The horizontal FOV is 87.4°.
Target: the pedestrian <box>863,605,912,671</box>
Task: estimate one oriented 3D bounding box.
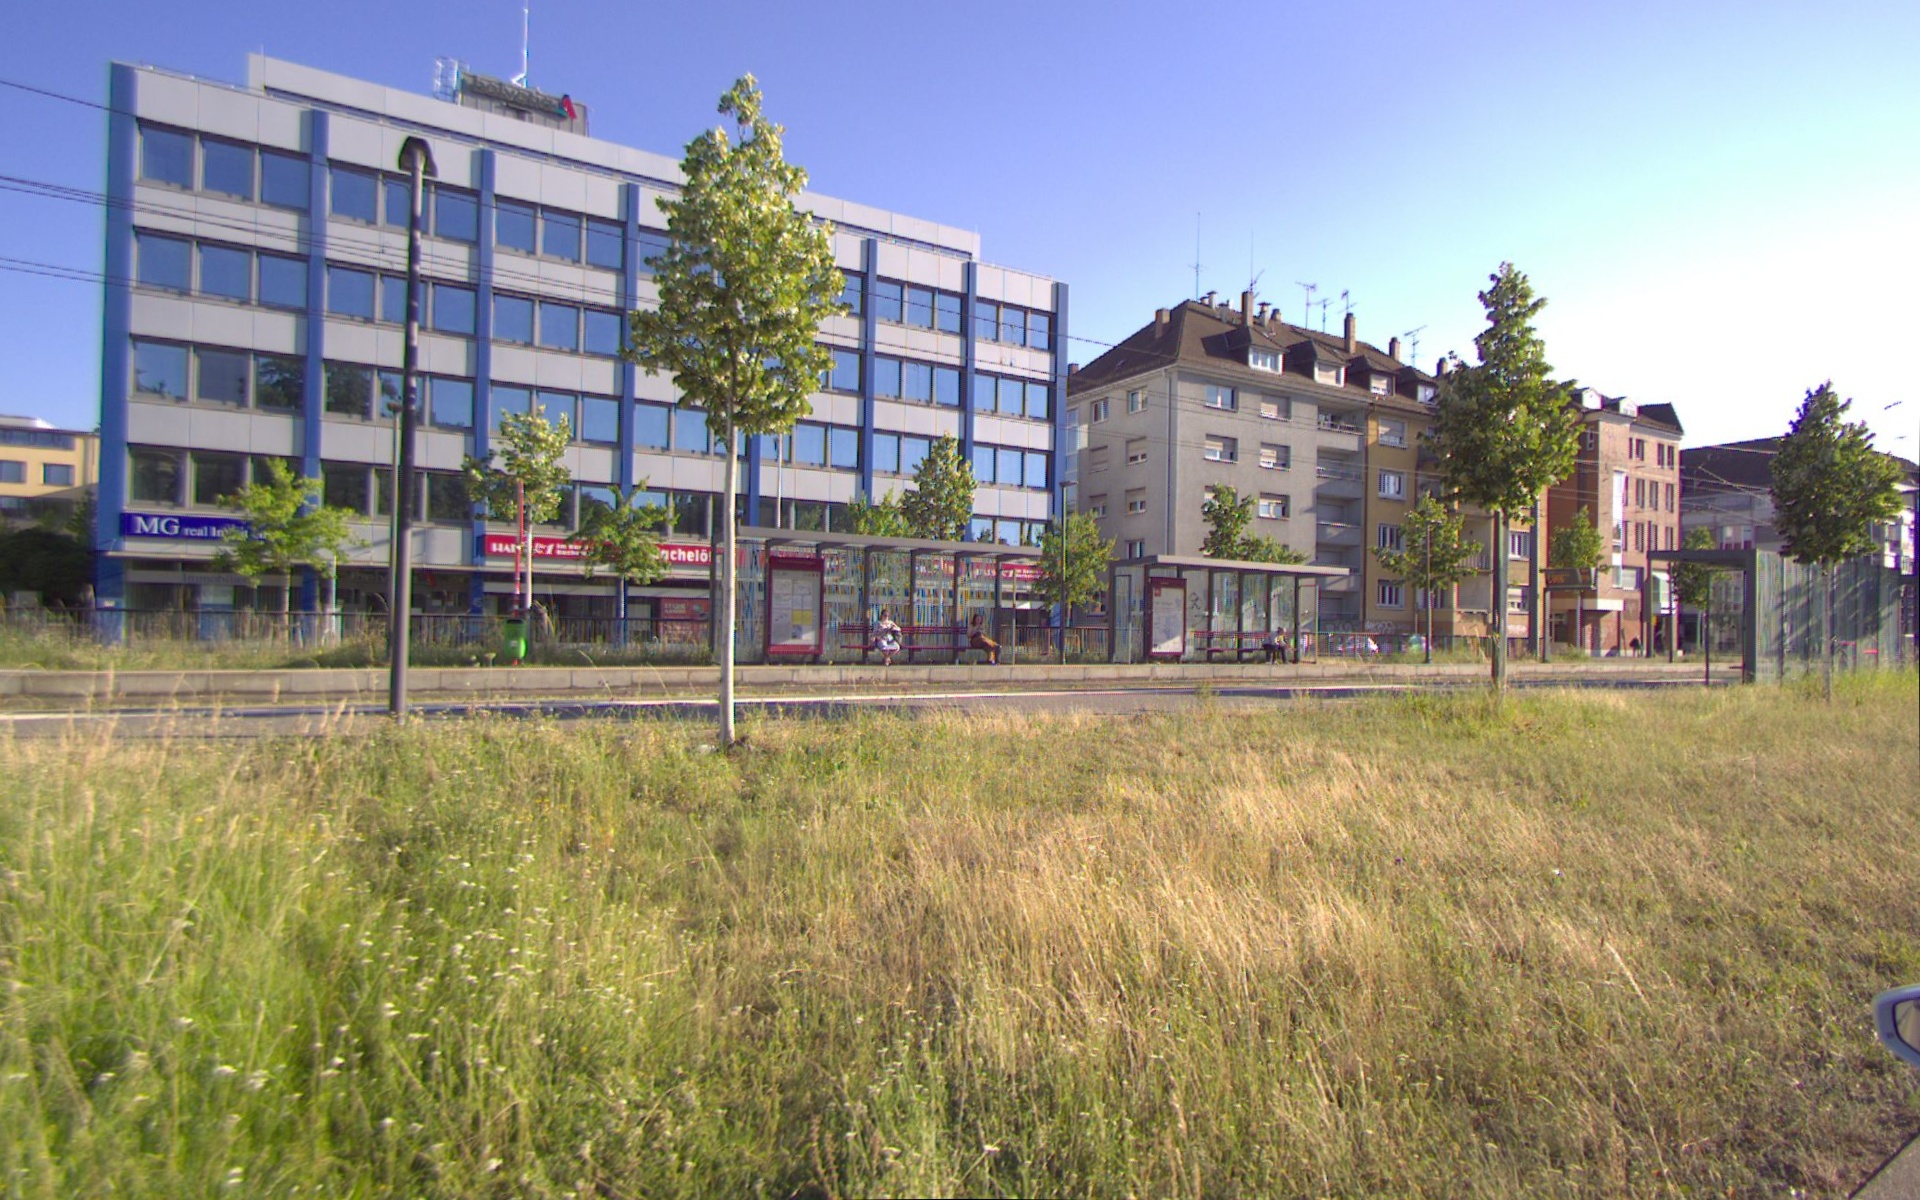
[{"bbox_3d":[-1.640,0.852,22.557,0.794,1.429,0.834,2,-1,-30],"label":"pedestrian"}]

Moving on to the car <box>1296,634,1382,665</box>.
[{"bbox_3d":[20.066,2.623,53.108,4.381,1.528,1.983,2,-2,-31],"label":"car"}]

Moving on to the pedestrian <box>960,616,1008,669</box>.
[{"bbox_3d":[0.556,1.002,23.832,0.755,1.213,0.929,2,-1,-30],"label":"pedestrian"}]

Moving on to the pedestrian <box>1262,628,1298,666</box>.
[{"bbox_3d":[9.137,1.335,28.701,0.785,1.061,0.624,2,-1,-31],"label":"pedestrian"}]

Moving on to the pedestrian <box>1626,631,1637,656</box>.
[{"bbox_3d":[49.060,3.173,73.373,0.543,1.847,0.482,2,-1,-33],"label":"pedestrian"}]

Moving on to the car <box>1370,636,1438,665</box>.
[{"bbox_3d":[24.645,2.804,55.771,3.512,1.506,1.738,2,-1,-31],"label":"car"}]
